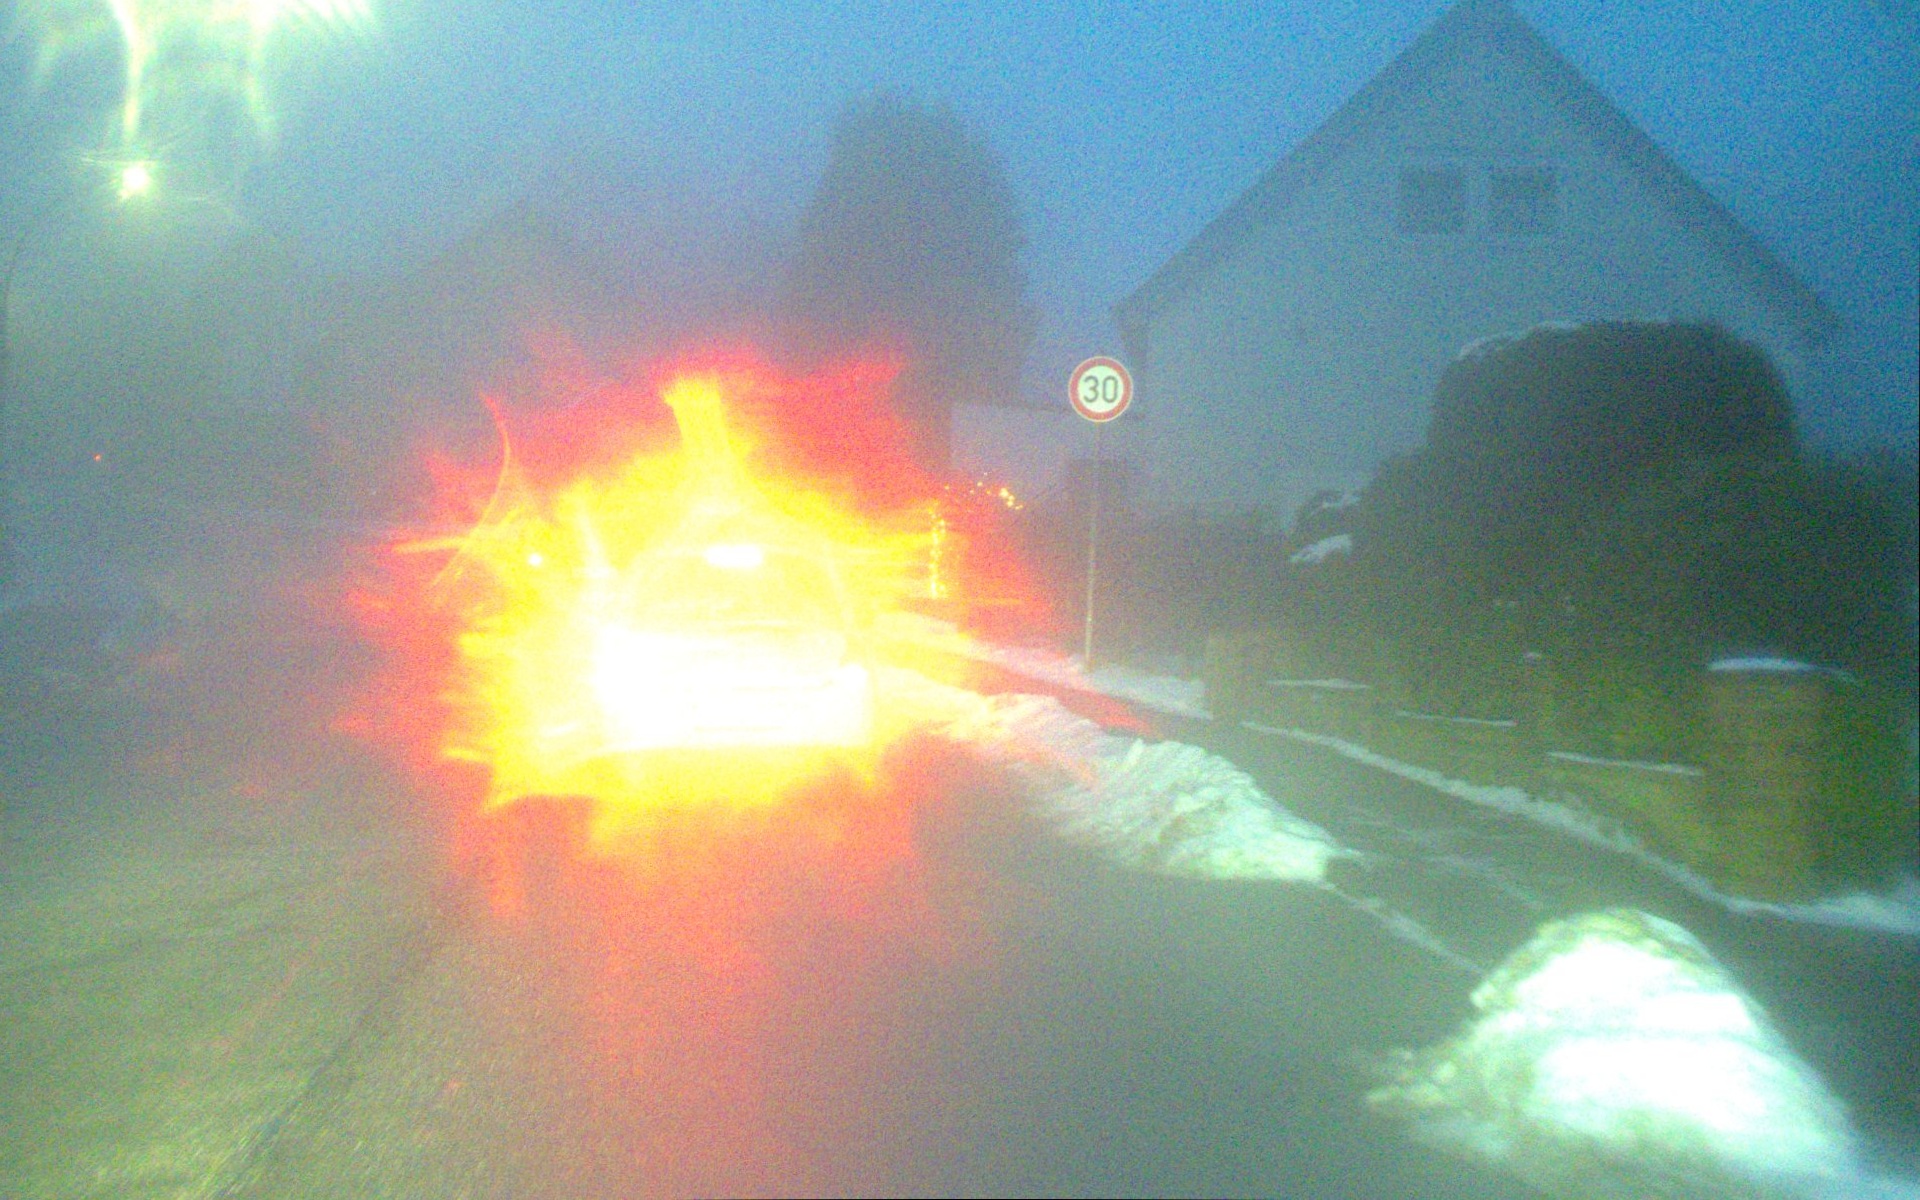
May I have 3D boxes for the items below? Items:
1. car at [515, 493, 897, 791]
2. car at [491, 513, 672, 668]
[{"bbox_3d":[-1.627,0.228,20.667,1.897,1.604,4.001,0,0,-10],"label":"car"},{"bbox_3d":[-4.497,-0.108,40.427,1.993,1.731,3.879,0,0,-8],"label":"car"}]
